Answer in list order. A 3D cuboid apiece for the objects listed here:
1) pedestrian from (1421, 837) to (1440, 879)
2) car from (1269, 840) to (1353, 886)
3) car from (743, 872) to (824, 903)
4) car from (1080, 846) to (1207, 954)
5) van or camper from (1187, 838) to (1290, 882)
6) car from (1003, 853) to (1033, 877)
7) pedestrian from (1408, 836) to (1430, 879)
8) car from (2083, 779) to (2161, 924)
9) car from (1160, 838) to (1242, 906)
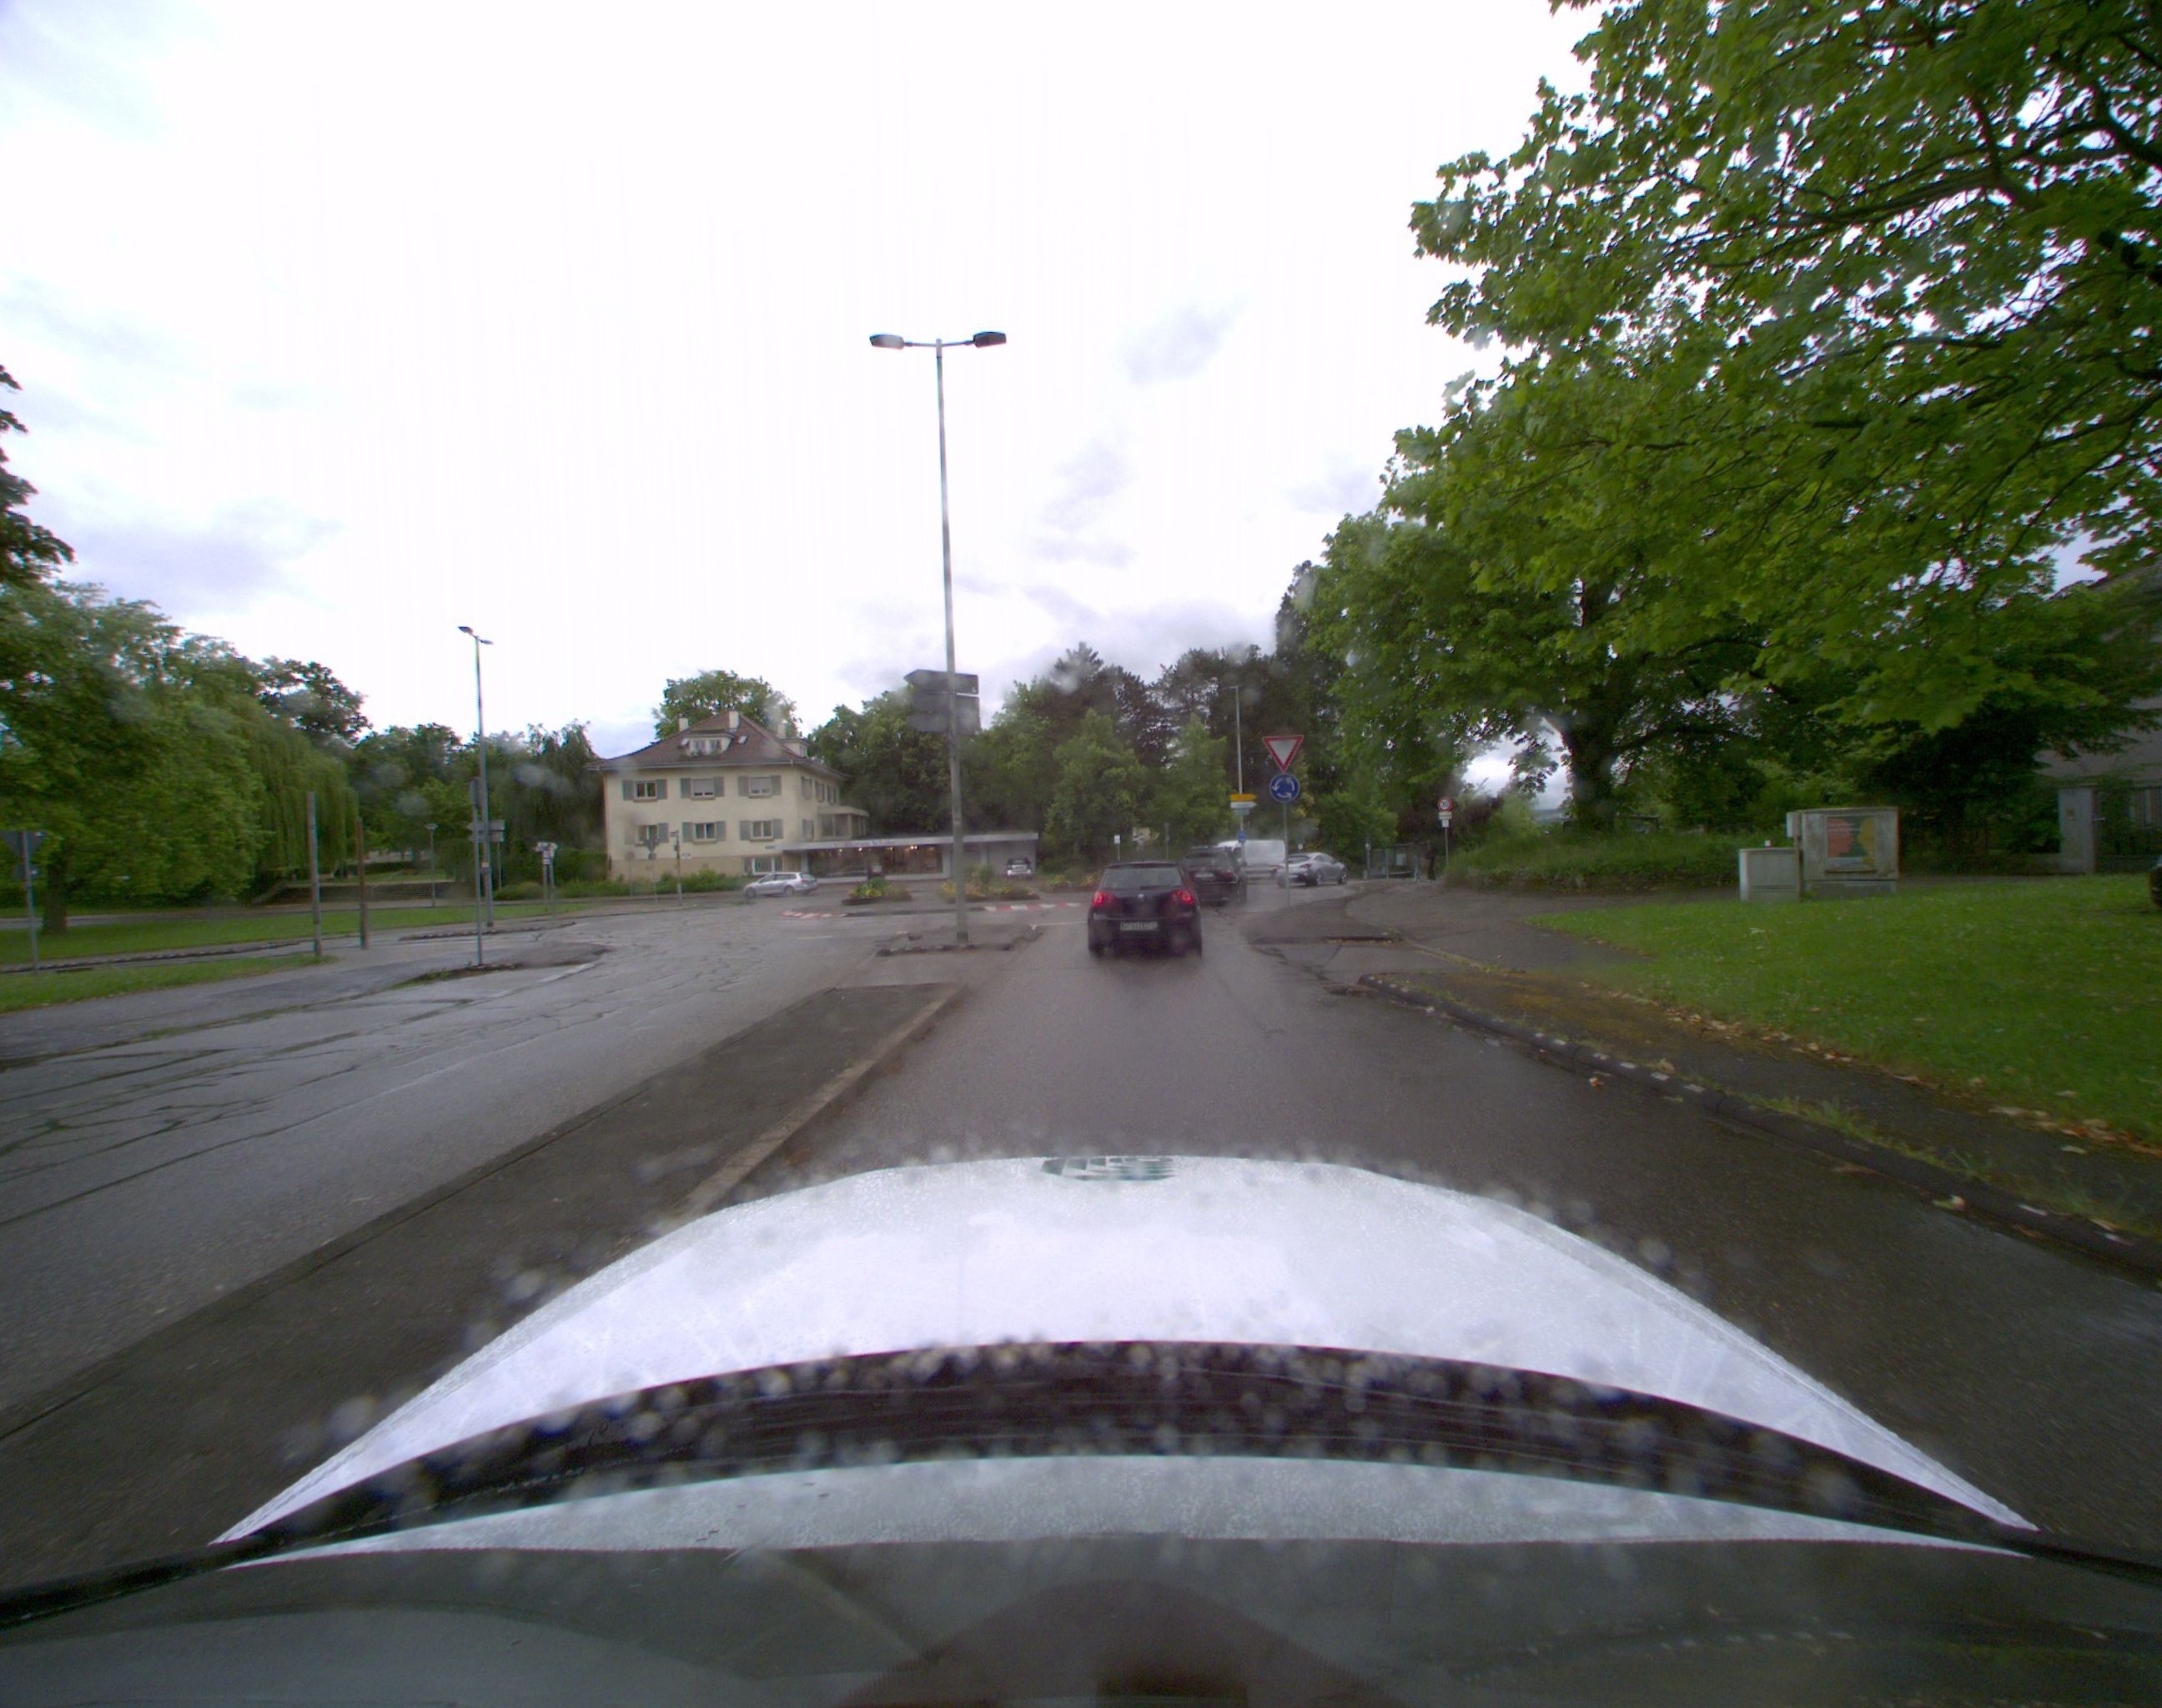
[{"bbox_3d":[14.236,0.161,33.146,0.629,1.713,0.532,-1,-1,17],"label":"pedestrian"},{"bbox_3d":[10.114,0.358,35.659,1.748,1.801,4.273,-4,-1,41],"label":"car"},{"bbox_3d":[-17.816,1.980,48.873,4.100,1.741,2.007,-1,-1,14],"label":"car"},{"bbox_3d":[1.201,0.704,13.755,1.754,1.539,4.010,-1,-1,10],"label":"car"},{"bbox_3d":[9.079,0.324,46.918,5.682,2.378,2.181,0,-1,-28],"label":"van or camper"},{"bbox_3d":[-4.292,0.729,55.007,1.810,1.486,3.823,-3,0,-6],"label":"car"},{"bbox_3d":[13.480,0.136,32.489,0.529,1.713,0.633,-1,-1,-14],"label":"pedestrian"},{"bbox_3d":[11.873,-0.110,6.596,1.759,1.471,4.596,-4,-1,0],"label":"car"},{"bbox_3d":[3.568,0.542,24.864,1.759,1.801,4.245,-3,-1,0],"label":"car"}]
